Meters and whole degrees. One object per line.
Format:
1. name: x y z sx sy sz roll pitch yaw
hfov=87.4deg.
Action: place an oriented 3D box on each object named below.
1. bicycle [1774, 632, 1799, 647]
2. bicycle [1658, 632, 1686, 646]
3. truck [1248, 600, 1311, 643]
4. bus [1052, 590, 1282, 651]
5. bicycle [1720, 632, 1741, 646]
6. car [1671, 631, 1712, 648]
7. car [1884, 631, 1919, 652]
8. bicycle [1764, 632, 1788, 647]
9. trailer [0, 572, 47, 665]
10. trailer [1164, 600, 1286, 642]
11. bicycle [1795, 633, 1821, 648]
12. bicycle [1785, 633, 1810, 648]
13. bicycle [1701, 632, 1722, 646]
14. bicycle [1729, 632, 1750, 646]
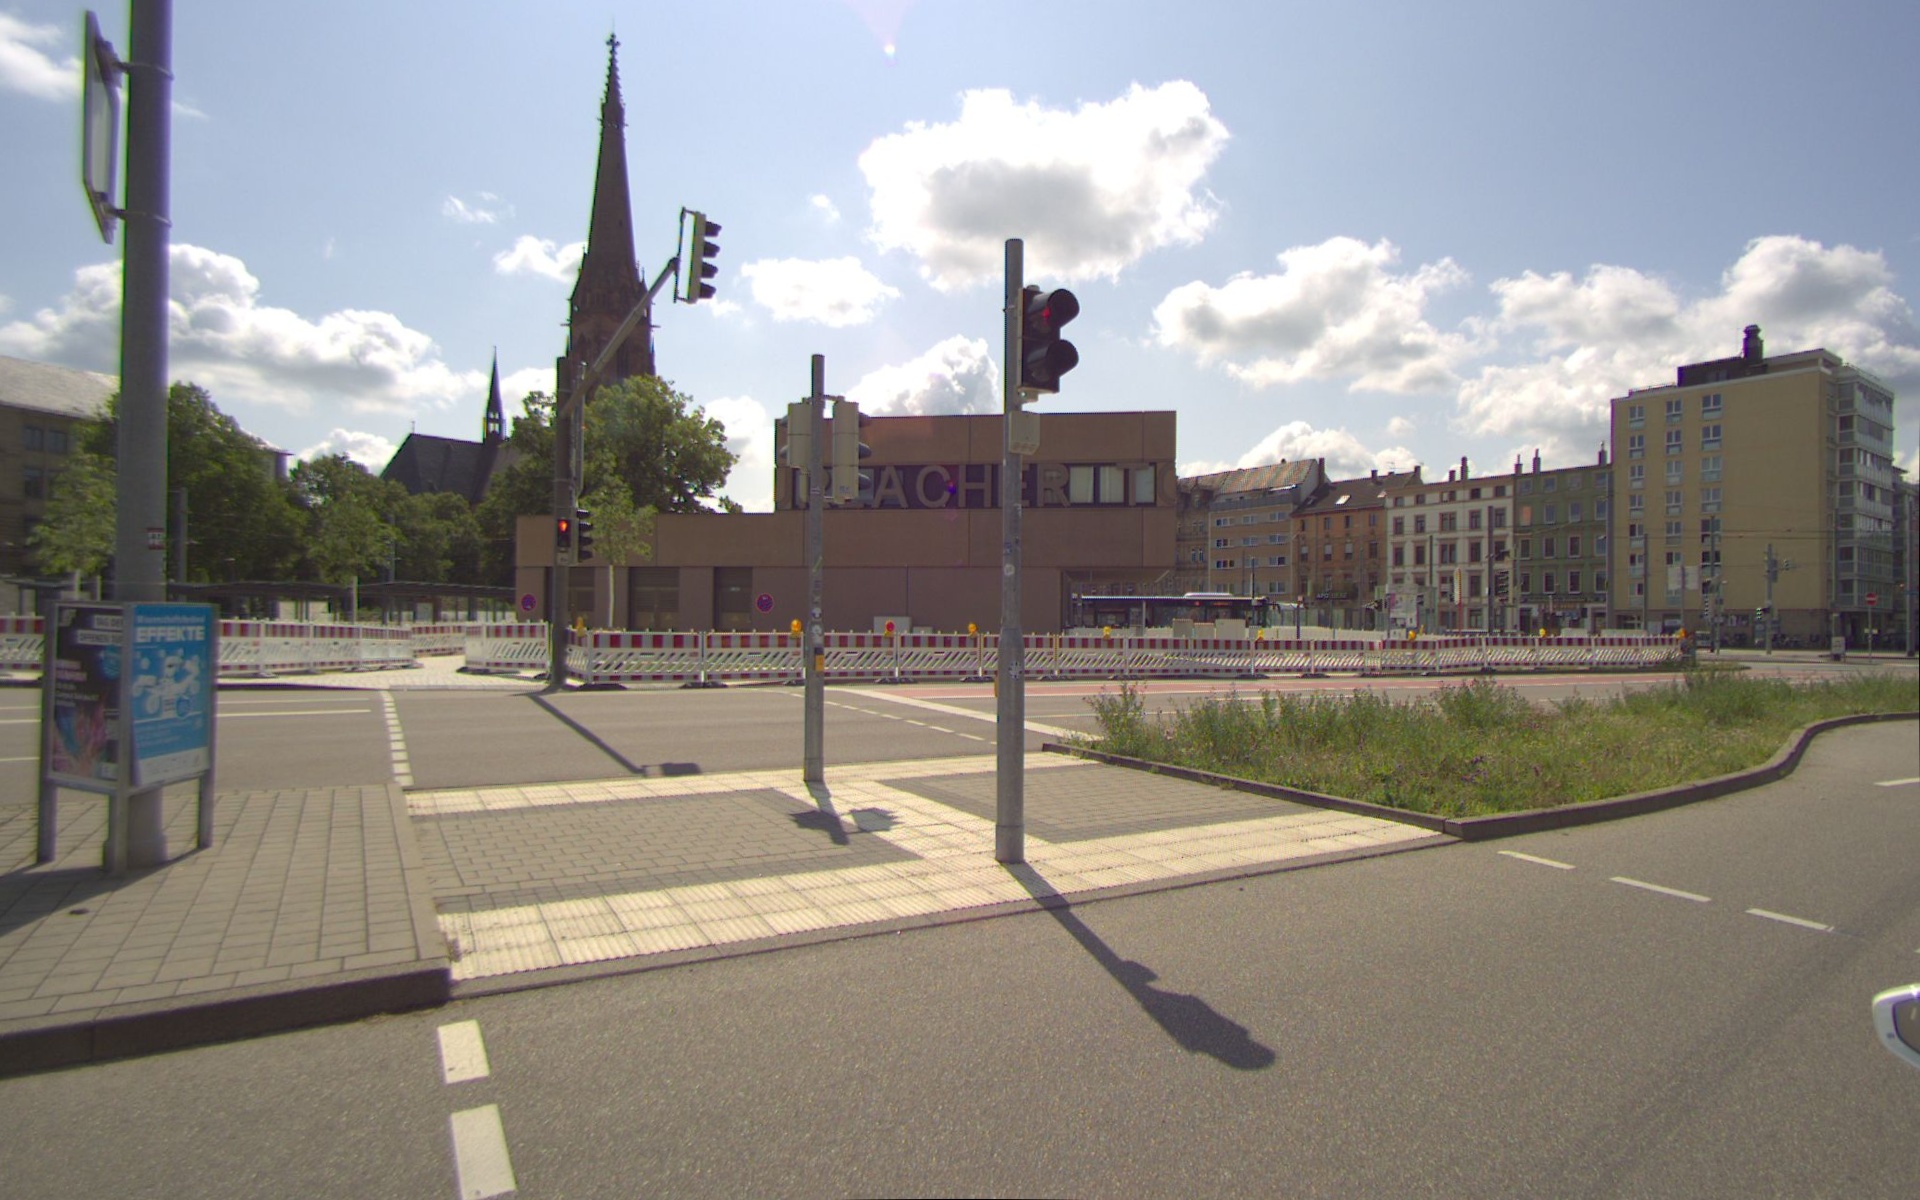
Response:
1. bicycle: 68.701 3.302 83.514 0.501 1.162 2.136 2 -1 8
2. bicycle: 64.071 3.485 90.398 0.521 1.162 1.931 2 -1 -30
3. truck: 31.811 2.127 100.010 2.682 4.022 5.394 2 -1 -36
4. bus: 11.169 1.094 55.000 12.017 2.897 2.597 2 -1 8
5. bicycle: 66.381 3.338 86.525 0.501 1.162 2.136 2 -1 11
6. car: 59.836 3.199 82.201 1.625 1.338 3.358 0 -1 16
7. car: 77.786 3.397 81.298 1.850 1.687 4.077 2 -1 -34
8. bicycle: 68.155 3.288 83.872 0.501 1.162 2.136 2 -1 8
9. trailer: -32.819 0.524 32.559 4.285 2.952 1.998 2 -1 -8
10. trailer: 27.622 2.069 105.876 2.682 4.022 13.902 2 -1 -36
11. bicycle: 69.846 3.329 82.757 0.501 1.162 2.136 2 -1 8
12. bicycle: 69.275 3.314 83.055 0.523 1.162 2.136 2 -1 8
13. bicycle: 65.590 3.367 87.691 0.501 1.162 2.136 2 -1 11
14. bicycle: 66.865 3.342 86.165 0.501 1.162 2.136 2 -1 11
